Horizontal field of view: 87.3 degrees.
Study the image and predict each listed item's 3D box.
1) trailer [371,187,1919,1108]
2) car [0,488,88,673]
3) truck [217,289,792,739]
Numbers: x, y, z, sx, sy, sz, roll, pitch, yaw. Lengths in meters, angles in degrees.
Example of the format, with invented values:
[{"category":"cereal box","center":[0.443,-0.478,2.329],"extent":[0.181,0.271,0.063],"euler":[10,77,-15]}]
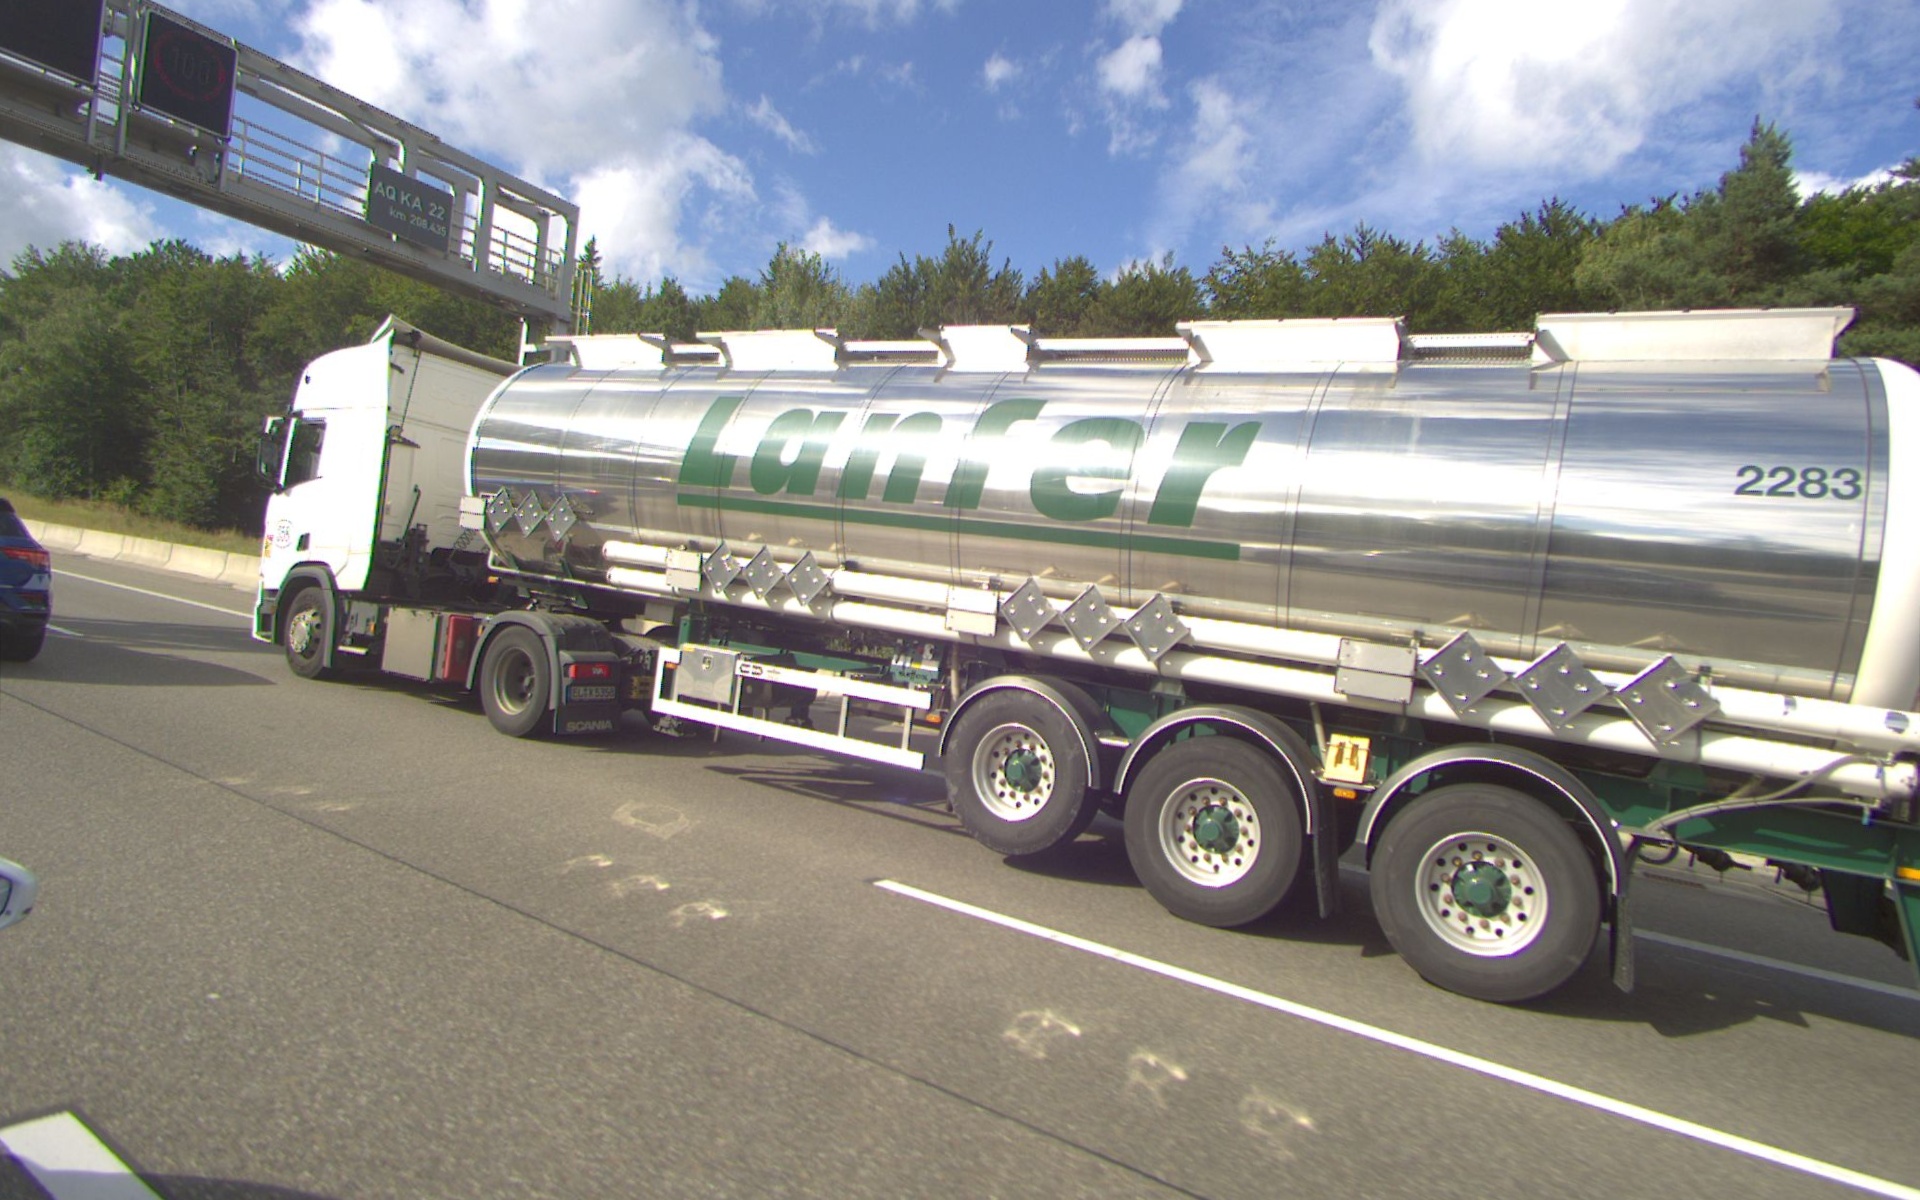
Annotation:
[{"category":"trailer","center":[-0.009,-0.288,8.140],"extent":[11.660,3.813,2.653],"euler":[7,0,31]},{"category":"car","center":[-10.188,-0.426,9.337],"extent":[4.383,1.548,1.777],"euler":[7,-1,31]},{"category":"truck","center":[-5.243,-0.930,11.308],"extent":[5.980,3.870,2.652],"euler":[7,0,31]}]
